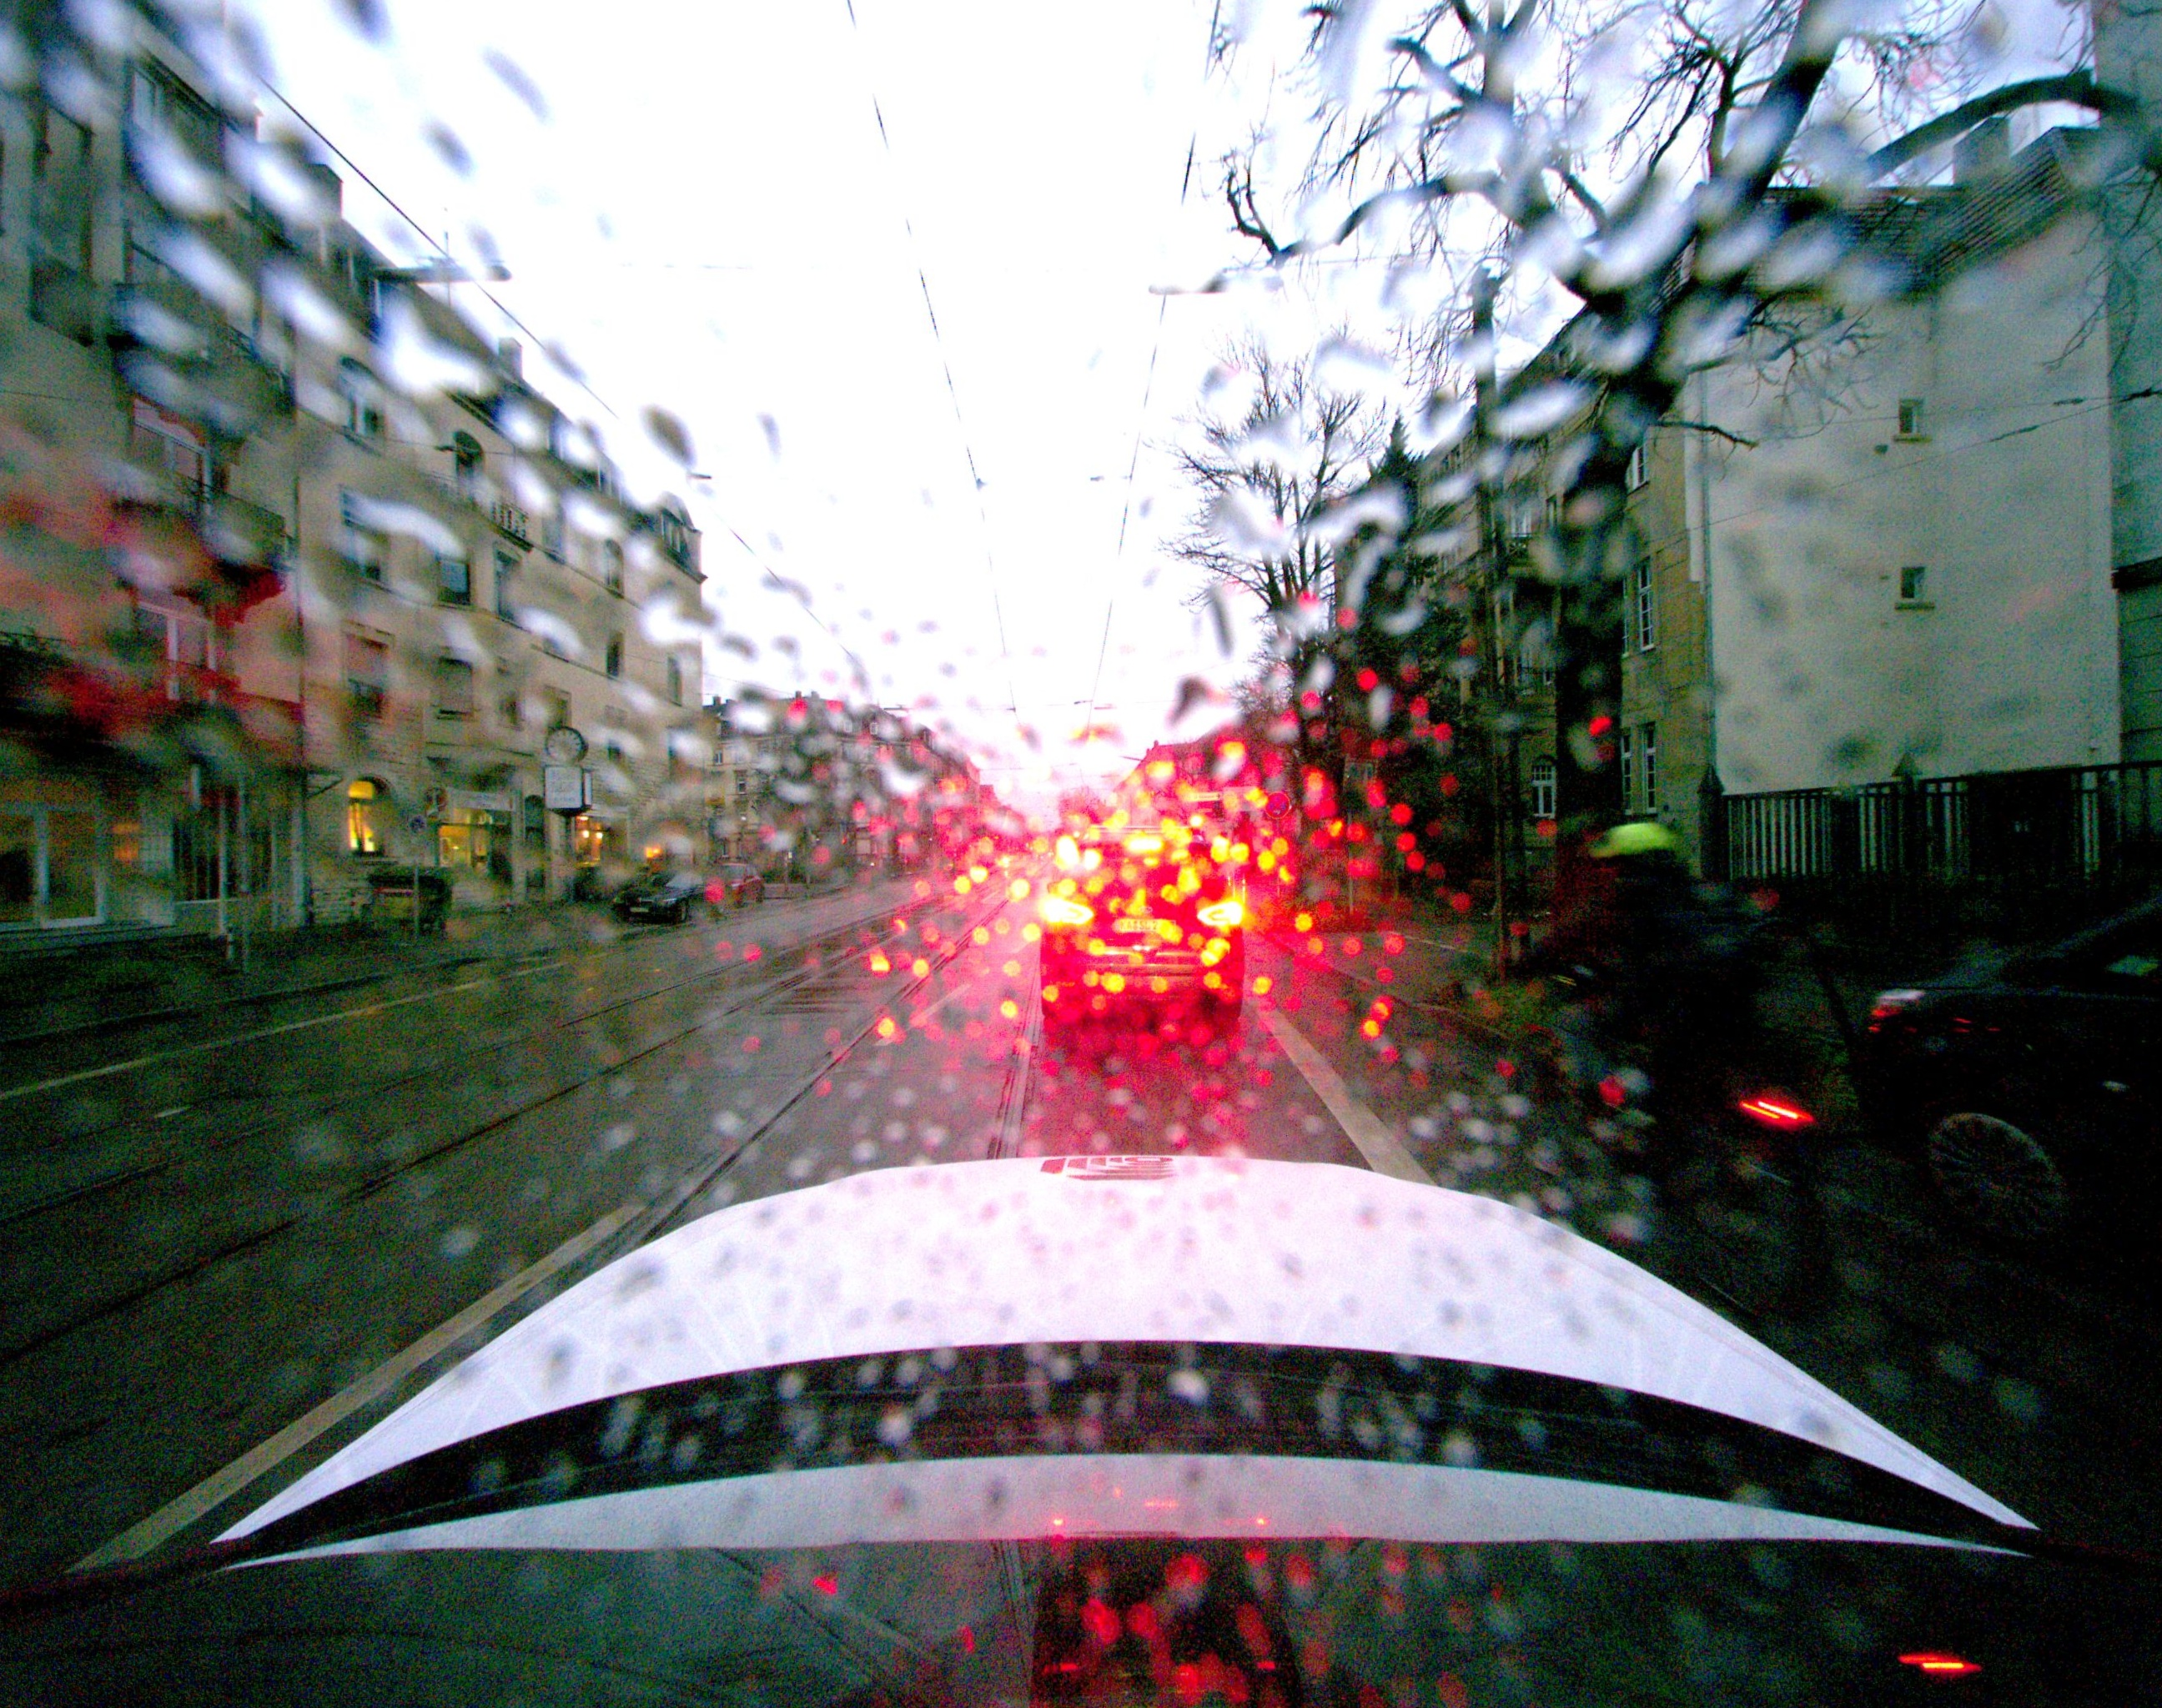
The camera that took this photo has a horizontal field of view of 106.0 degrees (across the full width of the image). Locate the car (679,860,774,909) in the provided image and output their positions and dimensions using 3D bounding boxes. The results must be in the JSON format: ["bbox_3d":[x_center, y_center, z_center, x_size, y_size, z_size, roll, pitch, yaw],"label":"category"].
[{"bbox_3d":[-12.969,1.069,30.069,2.035,1.551,4.023,2,0,-6],"label":"car"}]

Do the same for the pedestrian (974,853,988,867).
[{"bbox_3d":[-8.602,0.511,70.071,1.044,1.200,0.885,-1,-1,-1],"label":"pedestrian"}]

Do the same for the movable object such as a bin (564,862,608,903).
[{"bbox_3d":[-17.478,0.999,28.776,0.896,1.377,1.006,-1,0,-1],"label":"movable object such as a bin"}]

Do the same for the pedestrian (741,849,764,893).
[{"bbox_3d":[-15.013,0.767,37.196,0.748,2.014,0.652,-1,-1,35],"label":"pedestrian"}]

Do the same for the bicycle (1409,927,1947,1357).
[{"bbox_3d":[2.240,0.975,3.470,0.716,1.112,1.938,3,0,-5],"label":"bicycle"}]

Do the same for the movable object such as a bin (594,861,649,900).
[{"bbox_3d":[-16.948,0.974,30.053,1.290,1.367,1.251,-1,0,-2],"label":"movable object such as a bin"}]

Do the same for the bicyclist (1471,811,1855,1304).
[{"bbox_3d":[2.253,0.698,3.311,0.716,1.662,1.054,2,0,-6],"label":"bicyclist"}]

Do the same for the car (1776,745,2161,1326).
[{"bbox_3d":[4.503,0.558,1.549,2.025,1.875,4.961,-2,0,-1],"label":"car"}]

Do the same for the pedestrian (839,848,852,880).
[{"bbox_3d":[-15.094,0.623,52.175,0.707,2.013,0.656,-1,0,-21],"label":"pedestrian"}]

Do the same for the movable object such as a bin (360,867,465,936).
[{"bbox_3d":[-14.800,1.028,18.072,1.264,1.420,1.249,-1,0,-1],"label":"movable object such as a bin"}]

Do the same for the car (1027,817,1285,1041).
[{"bbox_3d":[0.655,0.604,8.979,2.096,1.816,4.661,0,0,1],"label":"car"}]

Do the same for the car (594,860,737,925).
[{"bbox_3d":[-12.142,1.050,24.212,1.982,1.645,4.624,3,-1,-4],"label":"car"}]
